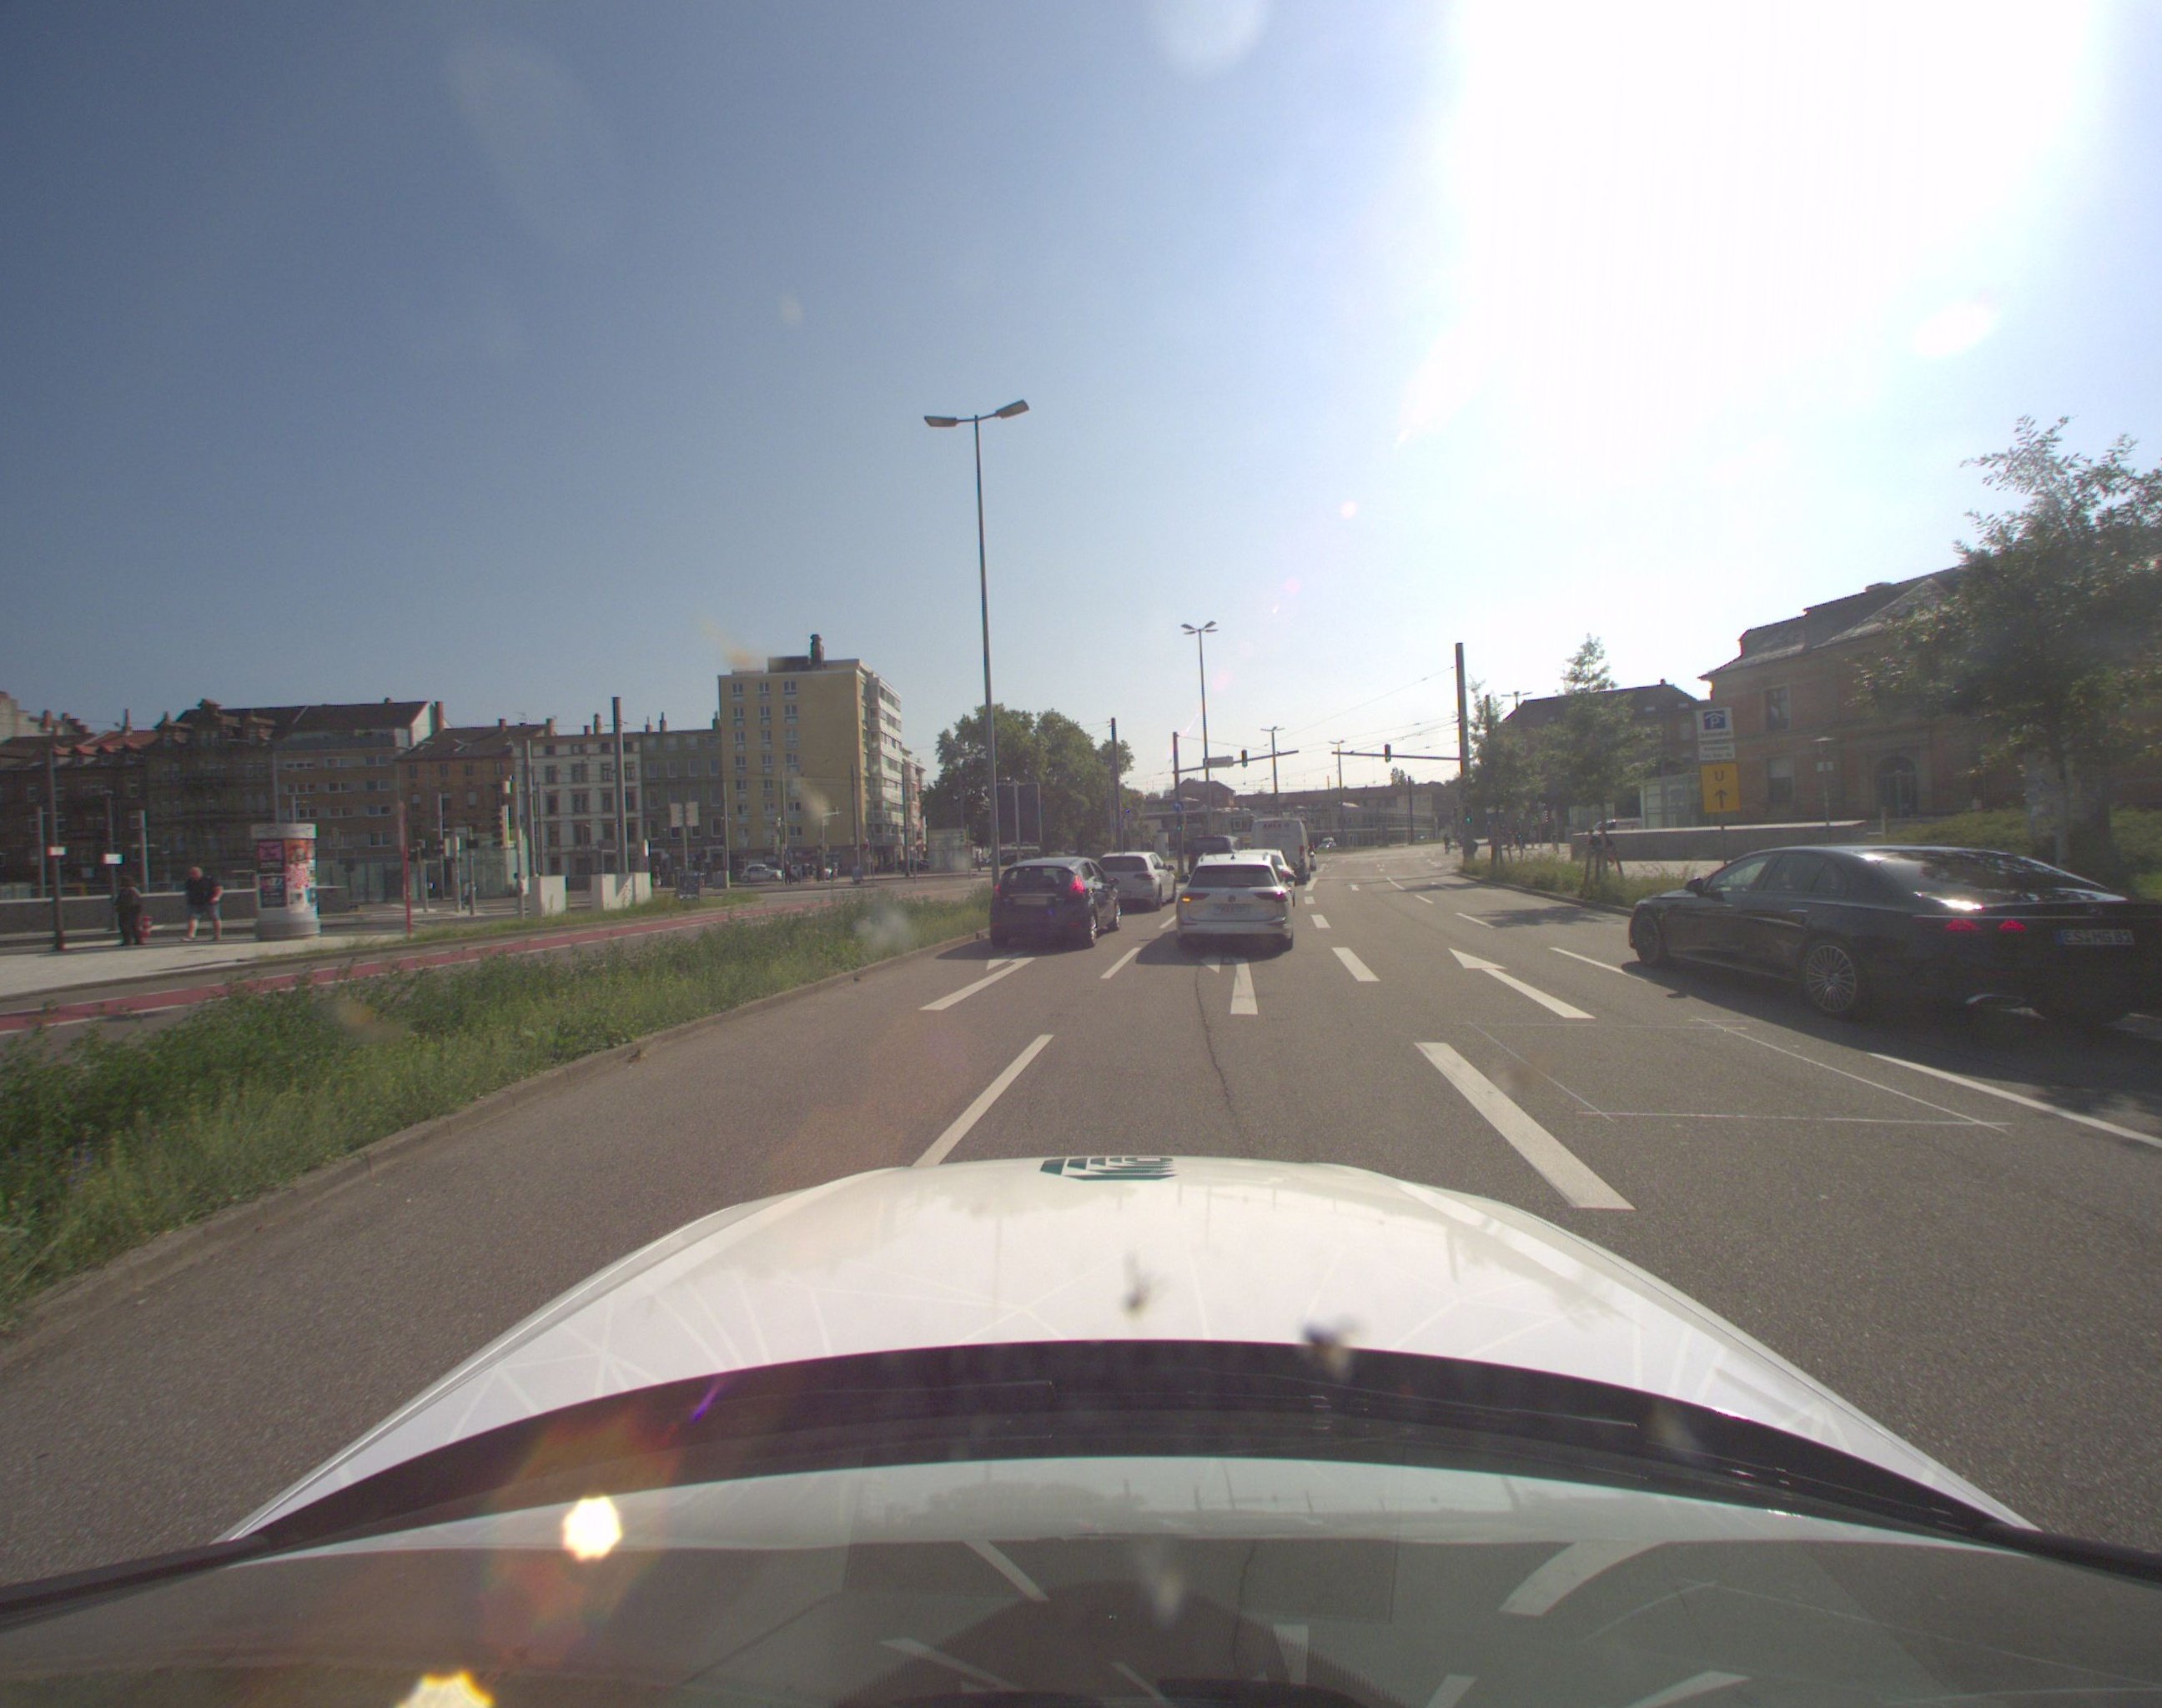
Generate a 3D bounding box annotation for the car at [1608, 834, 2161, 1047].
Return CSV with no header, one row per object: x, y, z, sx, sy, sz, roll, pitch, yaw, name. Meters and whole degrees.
7.336,0.584,7.993,1.809,1.440,4.887,-1,0,9,car

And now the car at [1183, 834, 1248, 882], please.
6.215,0.155,37.163,2.006,2.008,4.708,-2,0,21,car

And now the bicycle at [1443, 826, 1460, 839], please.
29.403,-1.694,64.692,0.766,0.976,2.157,-2,0,13,bicycle

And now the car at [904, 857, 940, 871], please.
-19.578,1.202,100.273,3.975,1.557,1.868,-3,0,-1,car

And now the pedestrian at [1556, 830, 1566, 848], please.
38.081,-1.175,64.566,0.651,1.360,0.663,-1,2,31,pedestrian

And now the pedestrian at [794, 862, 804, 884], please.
-22.417,1.500,64.748,0.451,1.684,0.549,-2,2,12,pedestrian

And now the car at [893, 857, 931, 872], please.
-19.957,1.234,96.313,3.928,1.557,1.795,-3,0,1,car

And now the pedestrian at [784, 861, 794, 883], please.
-23.084,1.400,64.361,0.450,1.684,0.550,-1,3,25,pedestrian

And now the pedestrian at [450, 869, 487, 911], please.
-30.763,1.805,40.919,0.955,2.013,1.022,-2,2,1,pedestrian

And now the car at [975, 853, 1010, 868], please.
-10.947,0.797,100.789,3.975,1.557,1.727,-2,0,-1,car

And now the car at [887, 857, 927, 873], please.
-19.912,1.219,93.266,3.973,1.557,1.870,-2,3,1,car

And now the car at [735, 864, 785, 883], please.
-28.186,1.700,71.535,3.724,1.393,1.587,-2,0,0,car

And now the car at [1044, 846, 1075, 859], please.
-2.881,-0.152,107.361,3.975,1.557,1.727,-2,0,-1,car

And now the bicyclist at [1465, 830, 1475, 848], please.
33.773,-1.321,70.673,0.706,1.529,0.811,-3,0,27,bicyclist

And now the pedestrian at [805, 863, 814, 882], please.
-22.037,1.495,66.122,0.501,1.487,0.435,-4,3,-38,pedestrian

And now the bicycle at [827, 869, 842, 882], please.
-19.893,1.716,65.672,0.726,0.984,1.729,-2,0,-4,bicycle

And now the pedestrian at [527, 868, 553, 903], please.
-29.537,1.713,44.488,0.774,1.786,0.856,-1,3,-2,pedestrian

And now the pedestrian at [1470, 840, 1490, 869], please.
19.071,0.014,38.949,0.632,1.362,0.636,-2,0,10,pedestrian

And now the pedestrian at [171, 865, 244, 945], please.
-21.356,1.230,19.935,0.884,1.818,0.887,-4,3,-31,pedestrian

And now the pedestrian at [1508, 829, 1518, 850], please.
41.010,-1.389,77.275,0.796,1.888,0.753,-3,0,27,pedestrian

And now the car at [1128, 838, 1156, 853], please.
9.250,-1.269,124.001,3.961,2.013,2.007,-2,3,11,car

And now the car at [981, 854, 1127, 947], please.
-0.319,0.715,14.348,1.690,1.368,3.975,-2,0,11,car

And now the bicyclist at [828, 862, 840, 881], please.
-19.905,1.398,65.662,0.724,1.434,0.689,-2,0,-4,bicyclist

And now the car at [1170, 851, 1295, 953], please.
2.540,0.677,13.125,1.673,1.387,3.648,-2,0,14,car

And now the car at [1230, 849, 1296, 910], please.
4.789,0.612,21.270,1.478,1.403,3.957,-2,0,14,car

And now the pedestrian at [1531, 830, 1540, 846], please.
40.823,-1.425,73.074,0.651,1.360,0.663,-1,2,31,pedestrian

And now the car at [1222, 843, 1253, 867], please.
10.569,0.055,54.917,1.610,1.502,4.106,-2,0,16,car

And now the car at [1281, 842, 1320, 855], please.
24.551,-0.605,91.156,3.943,1.342,1.935,-3,0,8,car

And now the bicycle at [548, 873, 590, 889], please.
-50.035,2.617,79.590,3.519,1.347,0.774,-2,2,-2,bicycle

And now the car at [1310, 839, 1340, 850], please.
35.685,-1.397,119.119,4.009,1.442,1.982,-3,0,-27,car

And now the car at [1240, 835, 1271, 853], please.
20.843,-1.230,97.145,1.974,2.013,4.694,-3,0,34,car

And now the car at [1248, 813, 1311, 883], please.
7.998,-0.219,32.525,2.172,2.549,4.703,-2,0,16,car

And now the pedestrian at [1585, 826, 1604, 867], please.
21.266,-0.310,33.727,0.608,1.639,0.537,-3,0,34,pedestrian

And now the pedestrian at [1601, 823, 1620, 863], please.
22.125,-0.442,34.032,0.608,1.628,0.537,-3,0,34,pedestrian

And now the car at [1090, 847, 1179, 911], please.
1.464,0.577,20.835,1.478,1.415,3.664,-2,1,16,car

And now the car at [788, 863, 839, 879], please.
-22.529,1.412,68.657,3.823,1.180,1.573,-2,-1,-5,car

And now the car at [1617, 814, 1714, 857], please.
30.370,-1.001,42.372,3.982,2.013,1.750,-3,2,-6,car

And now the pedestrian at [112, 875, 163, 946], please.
-21.786,1.303,18.814,0.493,1.579,0.510,-2,2,15,pedestrian

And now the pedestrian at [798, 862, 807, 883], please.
-22.509,1.496,65.754,0.458,1.684,0.435,-4,3,-38,pedestrian

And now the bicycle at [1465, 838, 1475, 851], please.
33.794,-0.849,70.672,0.699,1.061,1.994,-3,0,27,bicycle

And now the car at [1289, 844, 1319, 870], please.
13.020,0.133,47.565,1.625,1.403,3.702,-2,0,15,car

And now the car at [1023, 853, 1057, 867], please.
-5.239,0.758,104.190,3.969,1.618,1.815,-3,0,4,car
